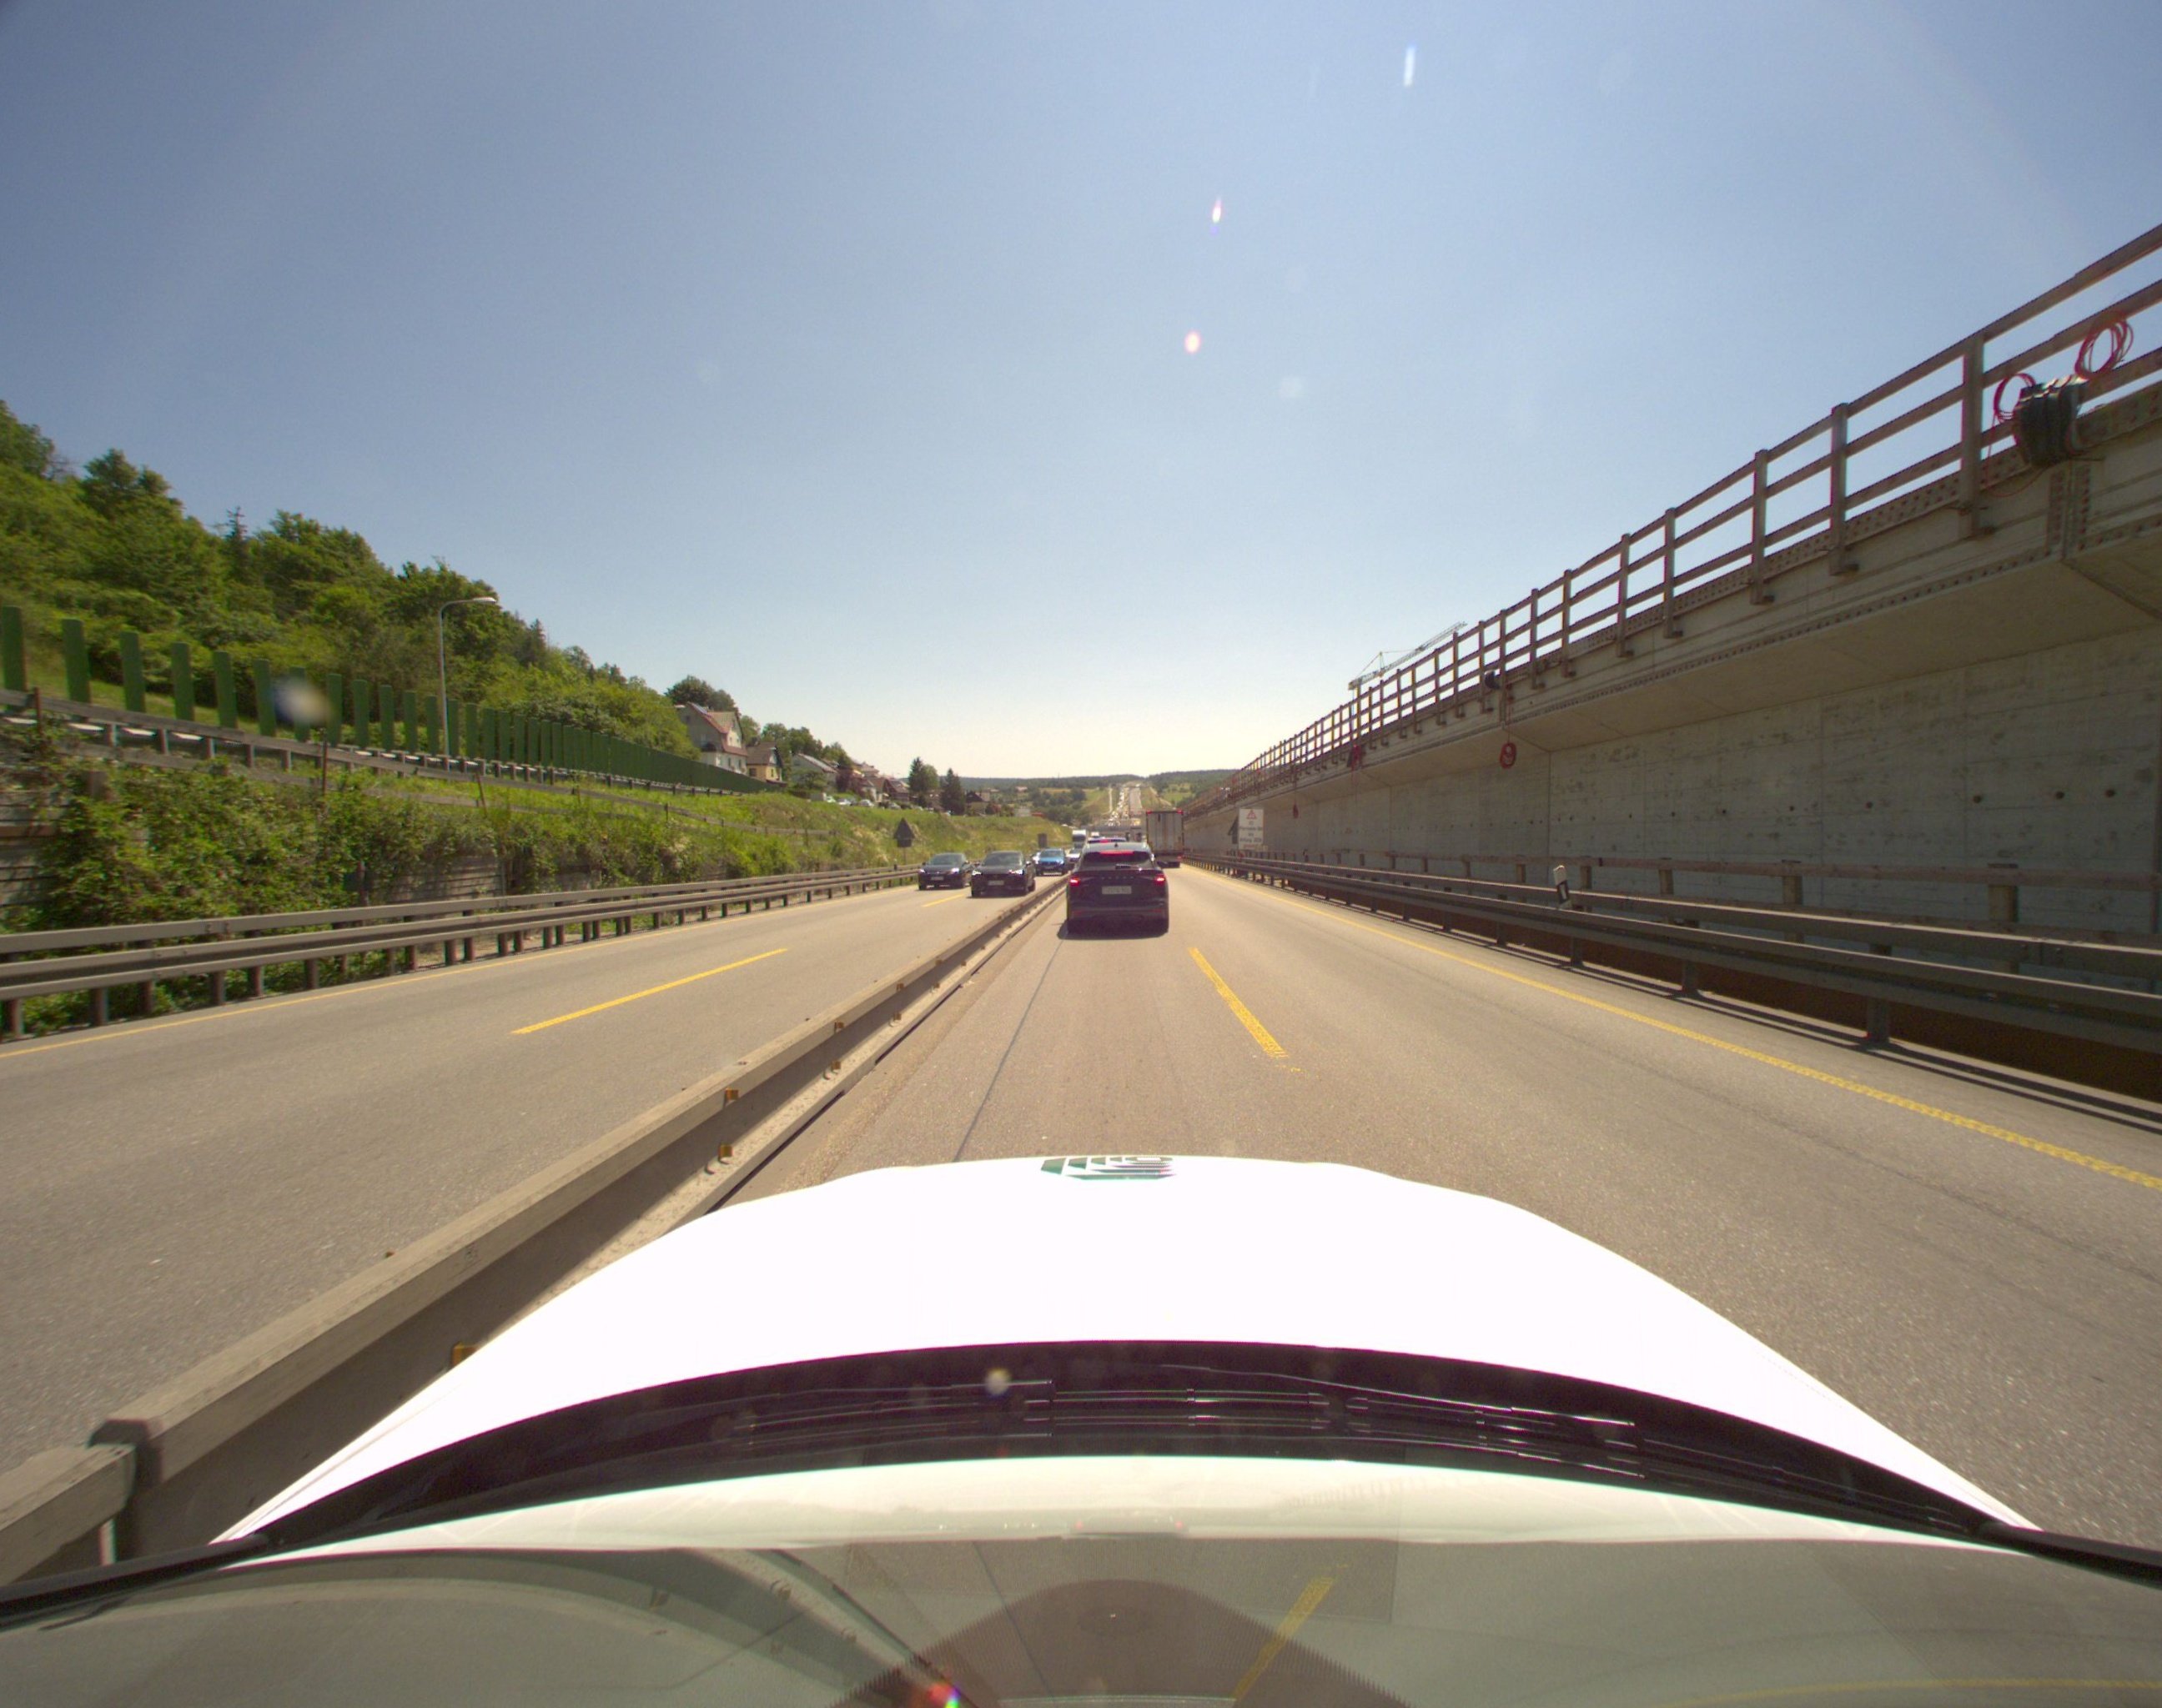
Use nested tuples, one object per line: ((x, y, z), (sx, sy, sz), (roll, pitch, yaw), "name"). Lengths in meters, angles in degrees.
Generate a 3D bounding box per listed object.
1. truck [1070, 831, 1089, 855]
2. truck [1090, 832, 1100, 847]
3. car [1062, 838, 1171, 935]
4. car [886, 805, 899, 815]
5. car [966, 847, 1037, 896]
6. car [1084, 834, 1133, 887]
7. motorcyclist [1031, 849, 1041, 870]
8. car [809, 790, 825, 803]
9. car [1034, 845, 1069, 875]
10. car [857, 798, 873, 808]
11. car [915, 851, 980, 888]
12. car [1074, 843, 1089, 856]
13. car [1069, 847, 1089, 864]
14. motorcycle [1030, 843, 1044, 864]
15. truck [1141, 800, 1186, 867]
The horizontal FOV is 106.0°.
((-0.295, -2.003, 148.253), (3.173, 4.238, 6.477), (-1, 0, -3), "truck")
((4.379, -4.385, 247.181), (2.741, 4.227, 8.106), (-1, 0, 3), "truck")
((0.645, 0.534, 15.493), (1.776, 1.597, 3.756), (-1, 0, 1), "car")
((-35.148, -8.155, 151.674), (1.924, 1.728, 3.989), (-1, 0, -8), "car")
((-2.650, 0.561, 28.084), (1.836, 1.530, 4.296), (-1, 0, 2), "car")
((1.000, 0.230, 31.551), (1.744, 1.895, 3.755), (1, 0, 0), "car")
((-3.376, 0.408, 61.057), (0.663, 1.585, 0.736), (-1, -1, 2), "motorcyclist")
((-32.545, -7.079, 100.437), (1.731, 1.398, 3.781), (1, 0, -16), "car")
((-1.692, 0.321, 47.747), (1.757, 1.610, 3.894), (-1, 0, 2), "car")
((-35.043, -8.221, 132.255), (1.992, 1.319, 3.989), (2, 0, -8), "car")
((-5.538, 0.620, 34.444), (1.807, 1.448, 5.008), (1, 0, 1), "car")
((0.070, -0.555, 101.839), (1.685, 1.486, 3.750), (-1, 0, 1), "car")
((-0.172, 0.120, 76.645), (1.760, 1.486, 3.866), (-1, 0, 1), "car")
((-3.322, -0.048, 61.348), (0.787, 1.551, 2.623), (0, 1, 2), "motorcycle")
((6.109, -1.408, 62.178), (2.834, 4.615, 11.820), (0, 0, 3), "truck")
